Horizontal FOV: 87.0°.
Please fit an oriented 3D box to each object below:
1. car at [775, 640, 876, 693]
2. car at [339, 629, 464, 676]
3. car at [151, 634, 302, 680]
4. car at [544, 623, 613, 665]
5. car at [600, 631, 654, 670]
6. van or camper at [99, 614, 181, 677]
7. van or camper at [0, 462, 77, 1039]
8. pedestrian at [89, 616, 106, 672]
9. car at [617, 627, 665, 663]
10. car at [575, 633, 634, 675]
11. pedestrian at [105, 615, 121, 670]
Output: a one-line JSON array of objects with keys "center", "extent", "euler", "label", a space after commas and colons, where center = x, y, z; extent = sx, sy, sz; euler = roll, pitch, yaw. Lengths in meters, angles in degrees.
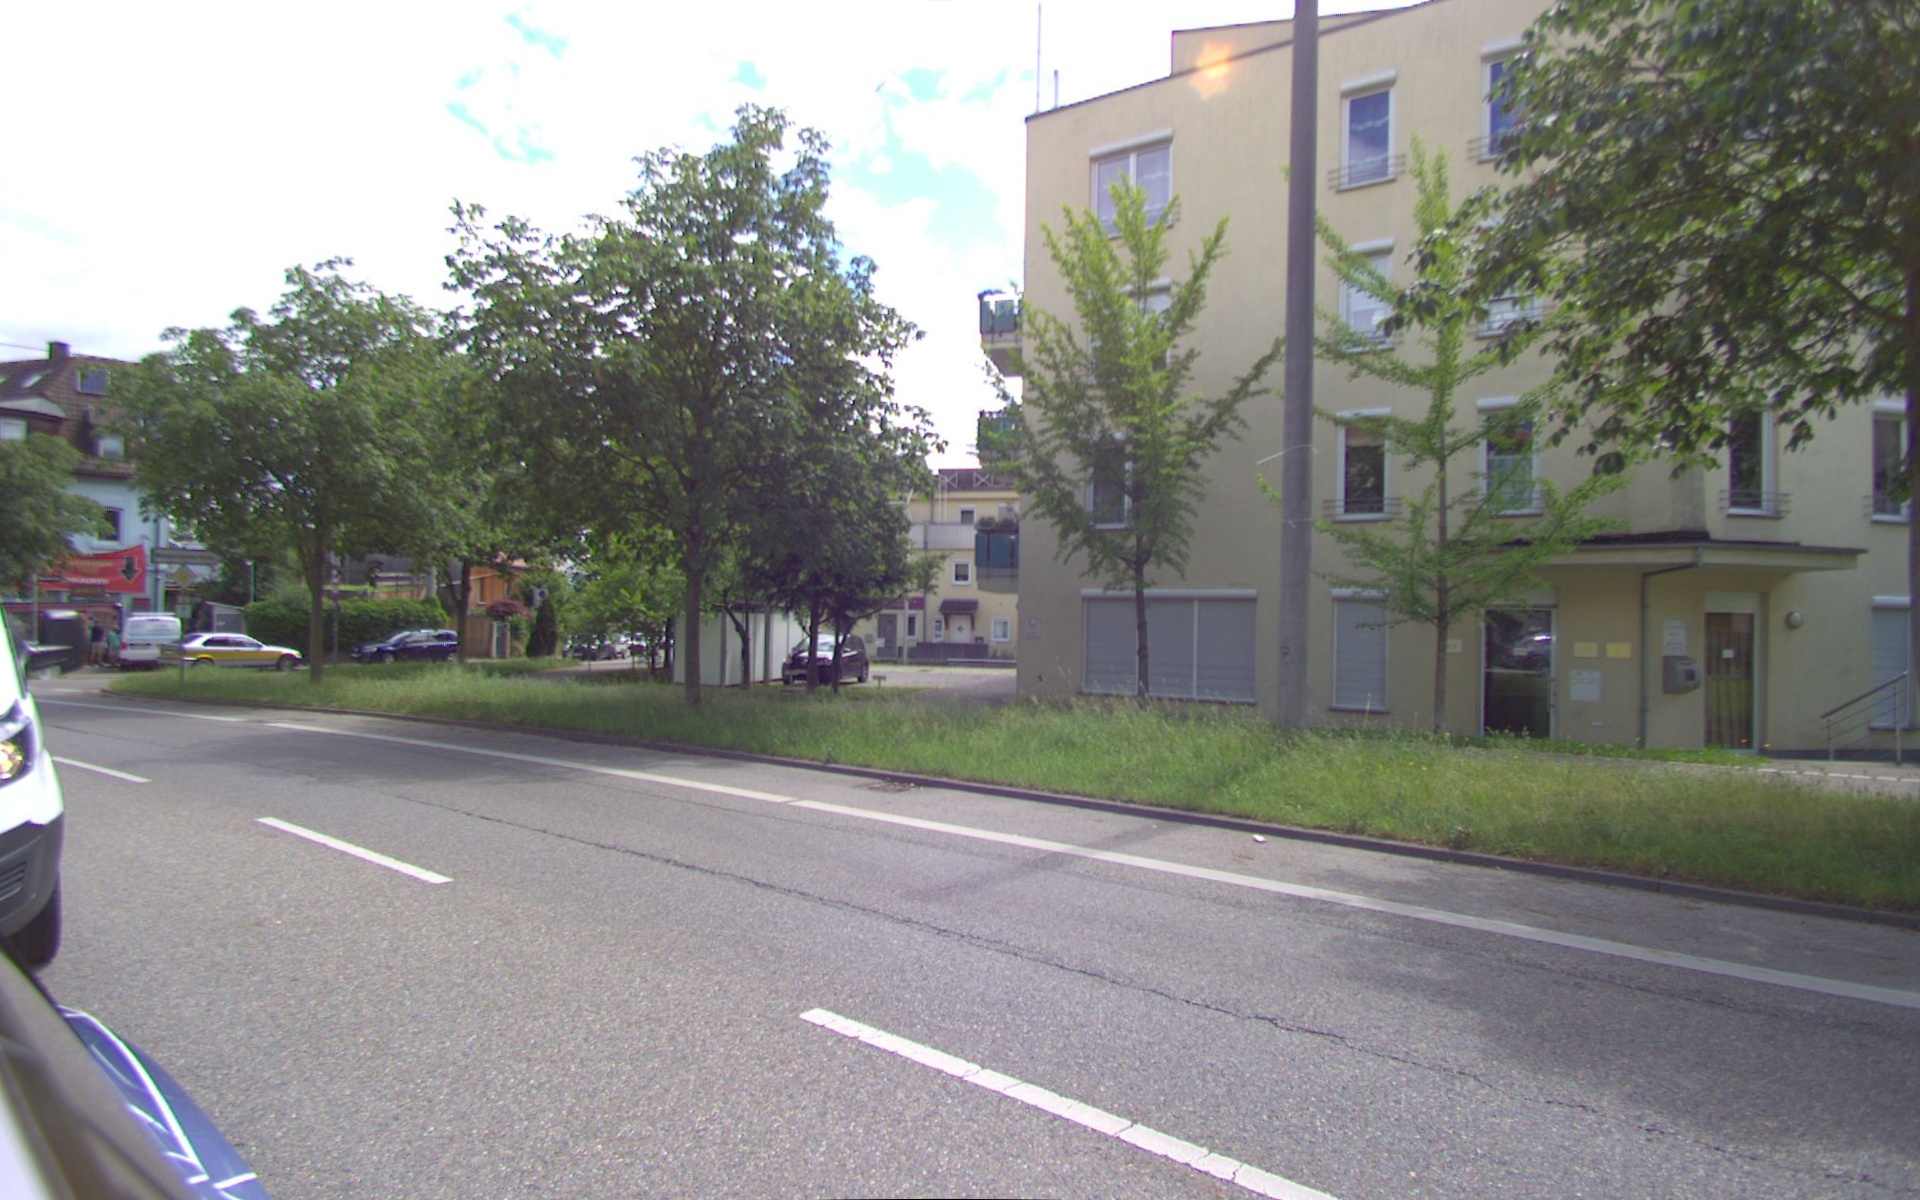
[{"center": [-3.865, 1.933, 29.785], "extent": [1.774, 1.431, 3.985], "euler": [-1, -3, 11], "label": "car"}, {"center": [-21.788, 2.005, 39.586], "extent": [1.715, 1.695, 3.928], "euler": [0, -2, 37], "label": "car"}, {"center": [-25.352, 1.925, 35.120], "extent": [1.529, 1.332, 4.008], "euler": [-1, 0, 27], "label": "car"}, {"center": [-19.124, 2.203, 50.935], "extent": [1.954, 2.029, 3.998], "euler": [0, -2, 1], "label": "car"}, {"center": [-19.559, 2.951, 59.604], "extent": [1.971, 2.029, 4.001], "euler": [-1, 0, -1], "label": "car"}, {"center": [-29.624, 1.589, 36.536], "extent": [3.811, 2.105, 1.770], "euler": [0, 0, 43], "label": "van or camper"}, {"center": [-5.818, 0.555, 4.659], "extent": [5.101, 2.029, 2.000], "euler": [-2, -3, 42], "label": "van or camper"}, {"center": [-31.756, 1.604, 37.270], "extent": [0.363, 2.029, 0.419], "euler": [-1, 0, 41], "label": "pedestrian"}, {"center": [-19.993, 2.781, 63.636], "extent": [1.870, 2.029, 4.002], "euler": [-1, 0, -2], "label": "car"}, {"center": [-19.354, 2.909, 55.263], "extent": [1.971, 2.029, 4.002], "euler": [-1, 0, -2], "label": "car"}, {"center": [-31.514, 1.575, 37.663], "extent": [0.443, 2.005, 0.378], "euler": [-1, 0, 41], "label": "pedestrian"}]
